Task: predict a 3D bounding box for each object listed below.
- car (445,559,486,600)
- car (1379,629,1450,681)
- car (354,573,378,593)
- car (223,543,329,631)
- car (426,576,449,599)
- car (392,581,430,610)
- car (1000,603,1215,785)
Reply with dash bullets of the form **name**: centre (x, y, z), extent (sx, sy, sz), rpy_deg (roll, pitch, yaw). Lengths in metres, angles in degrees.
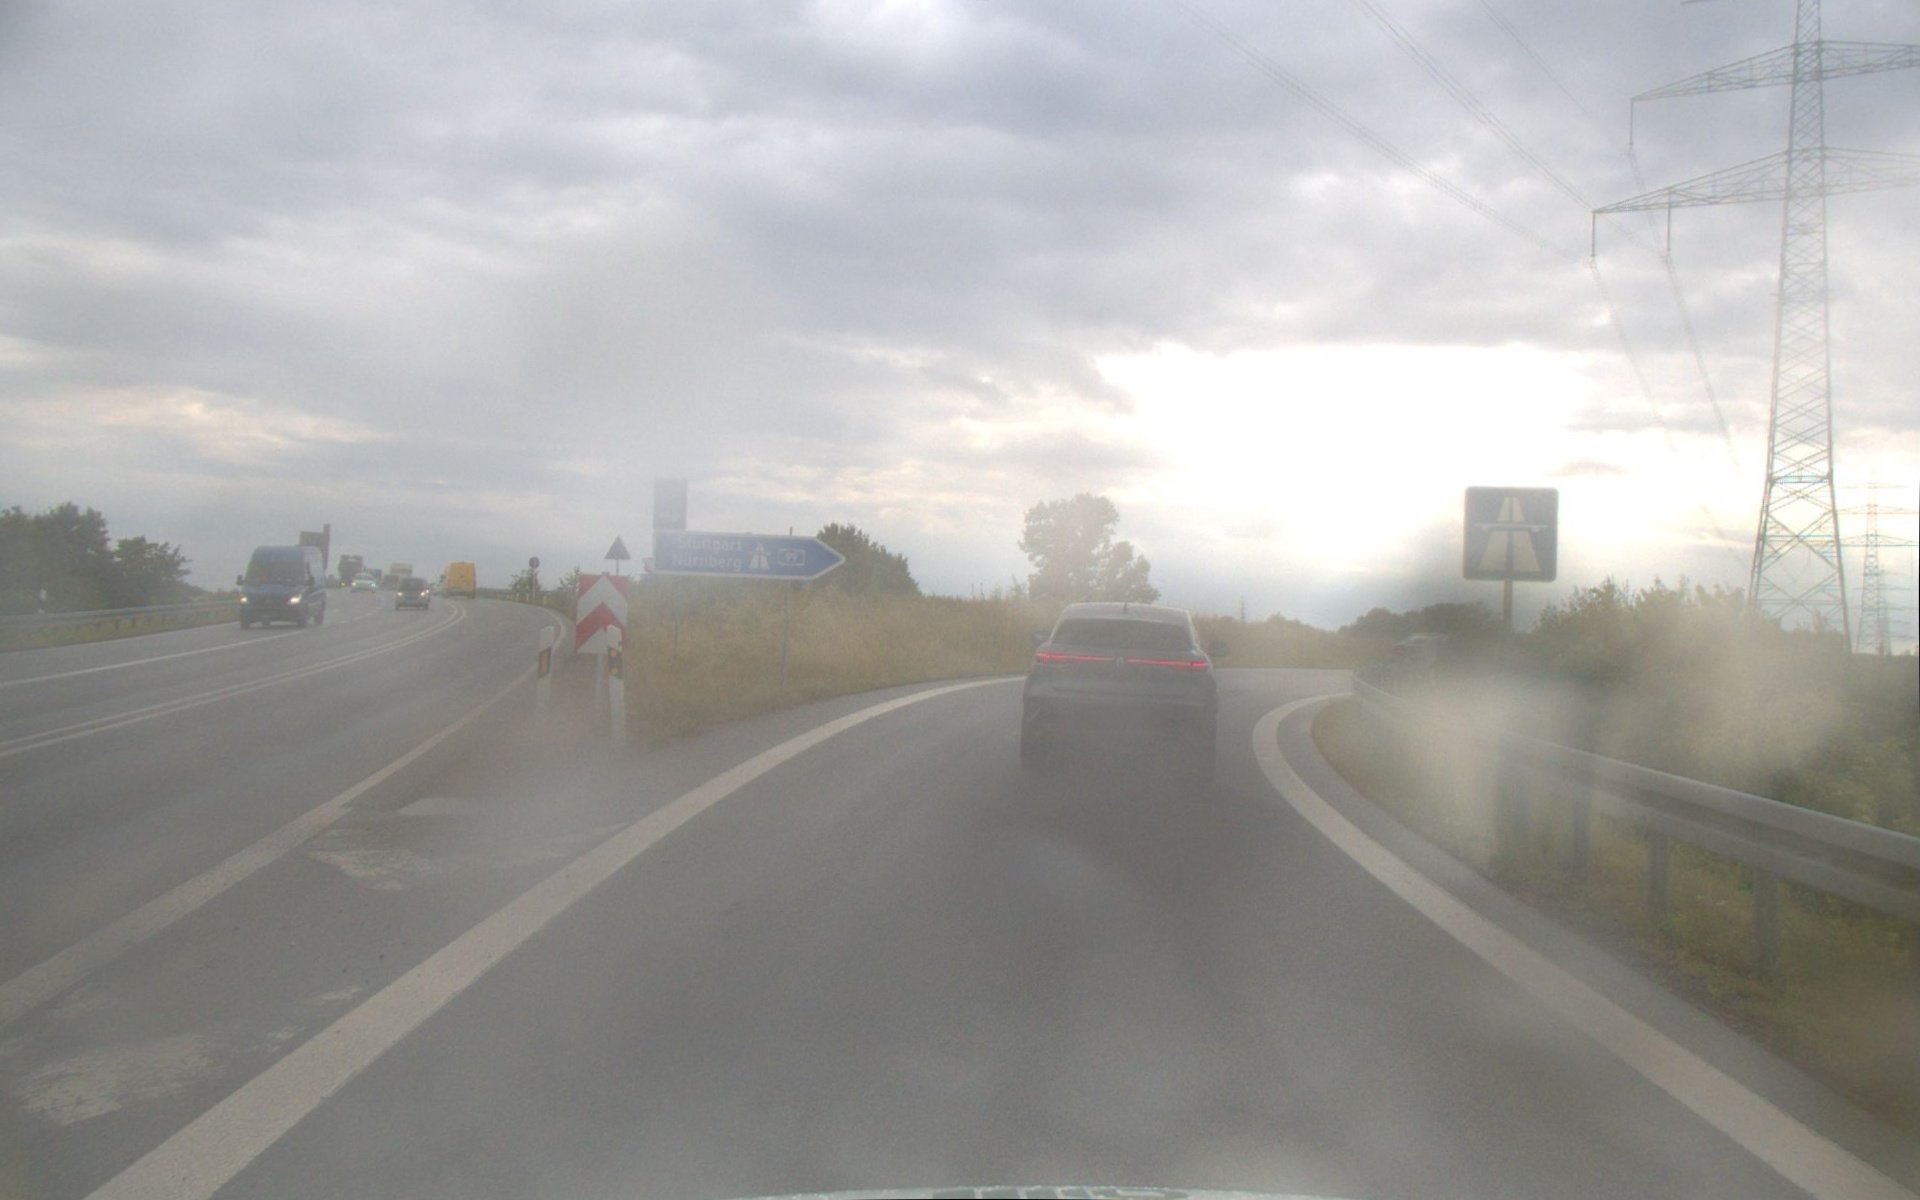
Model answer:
- **car**: centre (-35.235, -1.406, 117.770), extent (2.534, 2.773, 7.157), rpy_deg (1, 0, -19)
- **car**: centre (14.744, 1.808, 53.564), extent (1.755, 1.466, 3.999), rpy_deg (3, -2, 21)
- **car**: centre (-46.427, -1.305, 129.332), extent (1.628, 1.472, 3.368), rpy_deg (2, -1, -19)
- **car**: centre (-22.666, -0.468, 55.119), extent (2.312, 2.748, 6.967), rpy_deg (0, 1, -15)
- **car**: centre (-42.464, -0.993, 134.352), extent (1.764, 1.717, 3.978), rpy_deg (1, -2, -18)
- **car**: centre (-26.726, -0.205, 80.499), extent (1.718, 1.389, 4.028), rpy_deg (0, 0, -19)
- **car**: centre (1.404, 0.811, 15.781), extent (1.753, 1.466, 4.002), rpy_deg (1, -1, 5)
